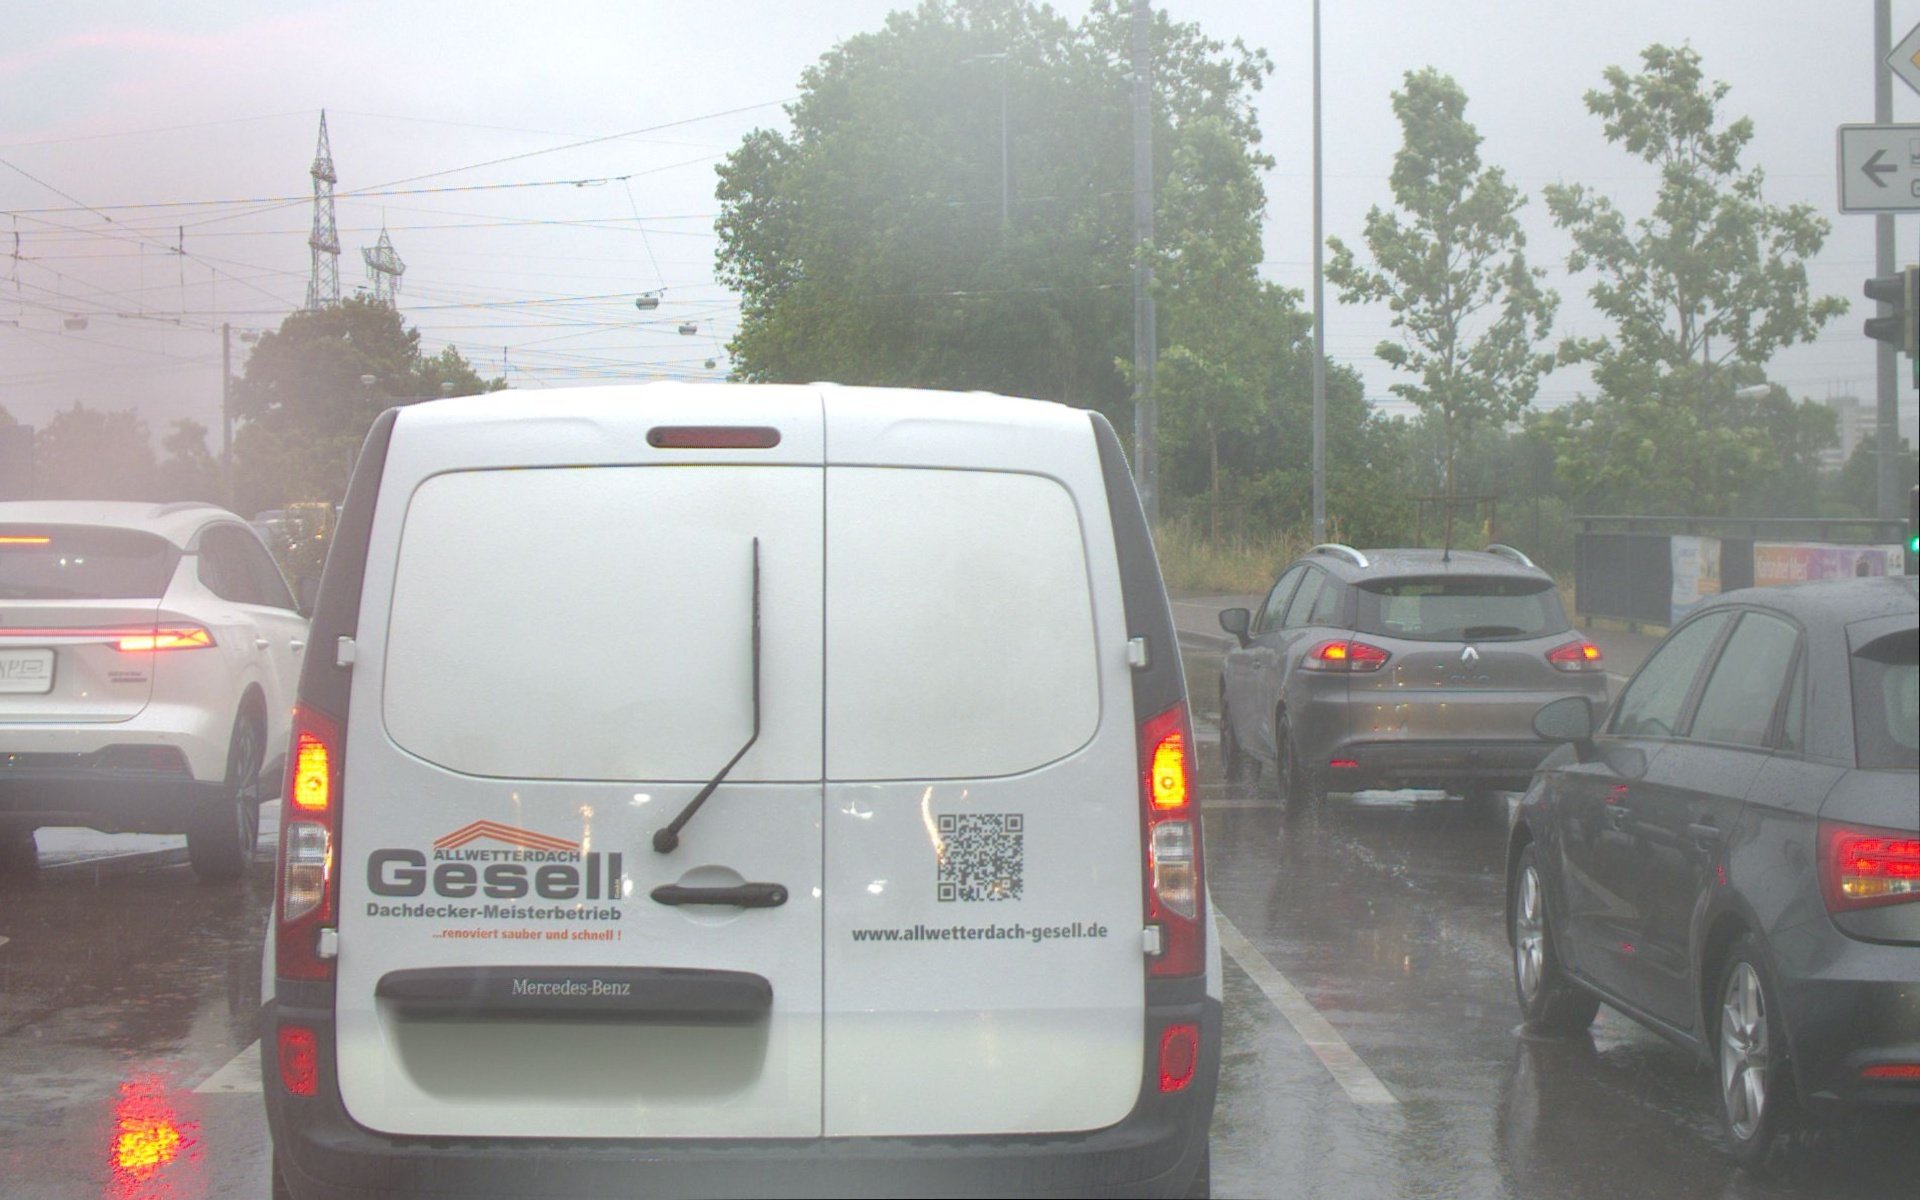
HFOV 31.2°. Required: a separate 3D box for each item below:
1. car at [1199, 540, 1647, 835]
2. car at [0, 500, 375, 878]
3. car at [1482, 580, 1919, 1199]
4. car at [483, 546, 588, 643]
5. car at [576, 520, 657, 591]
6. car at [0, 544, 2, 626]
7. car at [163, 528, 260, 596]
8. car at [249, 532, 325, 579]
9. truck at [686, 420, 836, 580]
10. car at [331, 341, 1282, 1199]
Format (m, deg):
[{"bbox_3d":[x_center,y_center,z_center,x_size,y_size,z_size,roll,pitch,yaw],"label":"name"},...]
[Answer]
[{"bbox_3d":[2.458,0.409,19.174,1.859,1.424,3.808,1,1,-2],"label":"car"},{"bbox_3d":[-3.928,0.303,16.154,1.728,1.530,4.298,1,1,-2],"label":"car"},{"bbox_3d":[2.534,0.638,9.126,1.629,1.340,3.624,1,1,-2],"label":"car"},{"bbox_3d":[-8.465,-0.131,68.585,1.993,1.853,4.001,1,1,-7],"label":"car"},{"bbox_3d":[-9.646,-1.234,96.816,1.993,1.853,4.000,2,0,-3],"label":"car"},{"bbox_3d":[-22.290,-0.328,74.073,1.929,1.820,3.999,1,1,4],"label":"car"},{"bbox_3d":[-22.616,-1.143,104.003,1.993,2.007,4.000,1,1,1],"label":"car"},{"bbox_3d":[-22.789,-1.507,116.471,1.763,1.544,3.680,1,1,1],"label":"car"},{"bbox_3d":[-3.734,-1.814,64.438,2.632,2.806,7.146,0,1,-3],"label":"truck"},{"bbox_3d":[-0.275,0.441,7.686,1.566,1.782,4.000,0,1,-1],"label":"car"}]
